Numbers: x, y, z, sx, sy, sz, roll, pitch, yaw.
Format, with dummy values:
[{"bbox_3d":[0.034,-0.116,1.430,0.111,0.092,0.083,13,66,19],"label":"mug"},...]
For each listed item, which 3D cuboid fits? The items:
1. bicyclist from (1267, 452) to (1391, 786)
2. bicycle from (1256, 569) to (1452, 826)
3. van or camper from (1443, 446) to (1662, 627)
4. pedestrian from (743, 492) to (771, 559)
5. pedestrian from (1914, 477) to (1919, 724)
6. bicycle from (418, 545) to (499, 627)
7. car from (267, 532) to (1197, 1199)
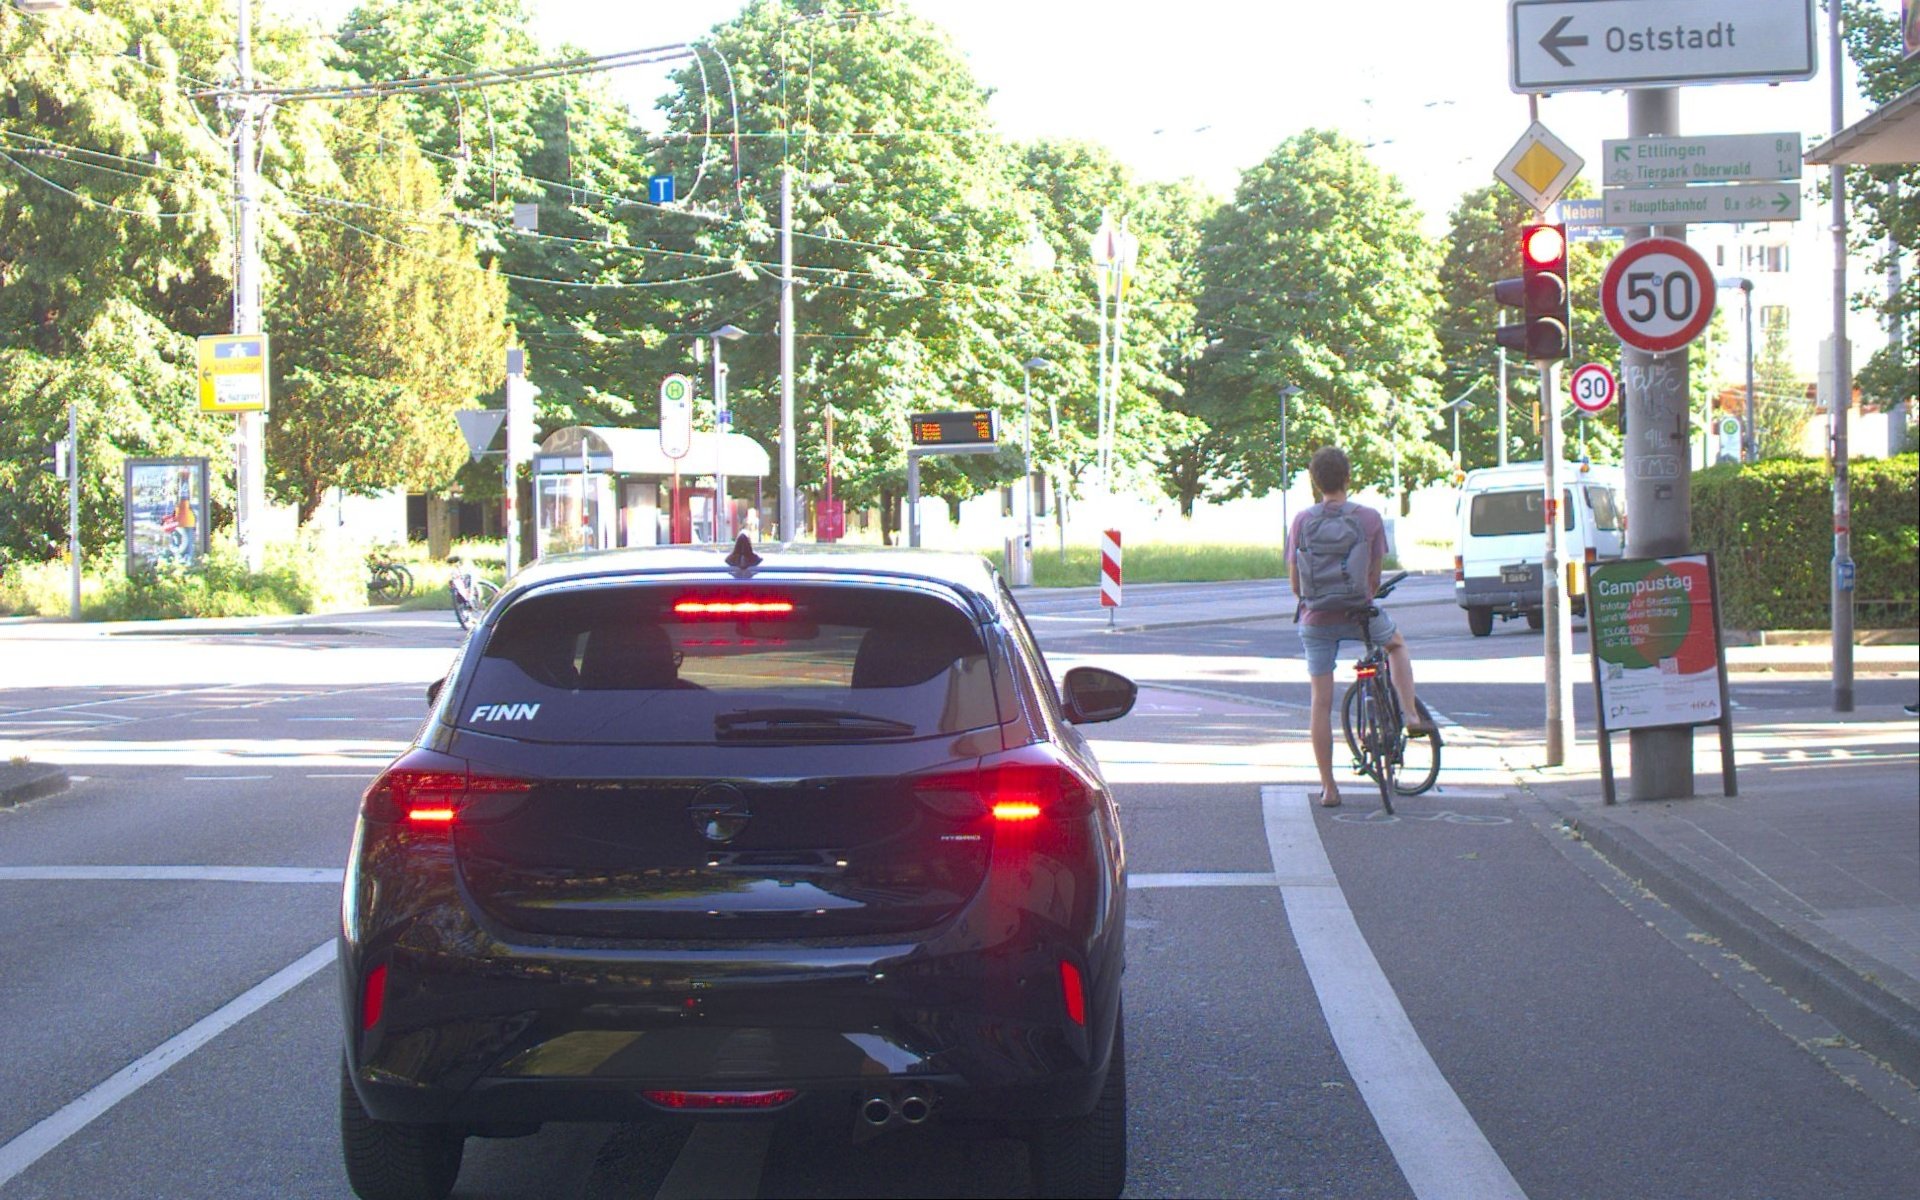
[{"bbox_3d":[1.906,0.089,17.716,0.534,1.686,0.567,0,1,17],"label":"bicyclist"},{"bbox_3d":[2.084,0.471,17.961,0.753,1.231,2.014,0,1,14],"label":"bicycle"},{"bbox_3d":[8.032,-0.839,46.283,2.031,2.302,4.535,1,1,21],"label":"van or camper"},{"bbox_3d":[-5.725,-2.101,96.940,0.737,1.865,0.662,1,0,-6],"label":"pedestrian"},{"bbox_3d":[7.189,0.007,24.611,0.633,1.757,0.582,1,0,18],"label":"pedestrian"},{"bbox_3d":[-6.782,-0.198,46.559,0.796,1.061,2.185,0,1,-1],"label":"bicycle"},{"bbox_3d":[-0.474,0.567,8.810,1.840,1.457,3.984,0,1,-1],"label":"car"}]
